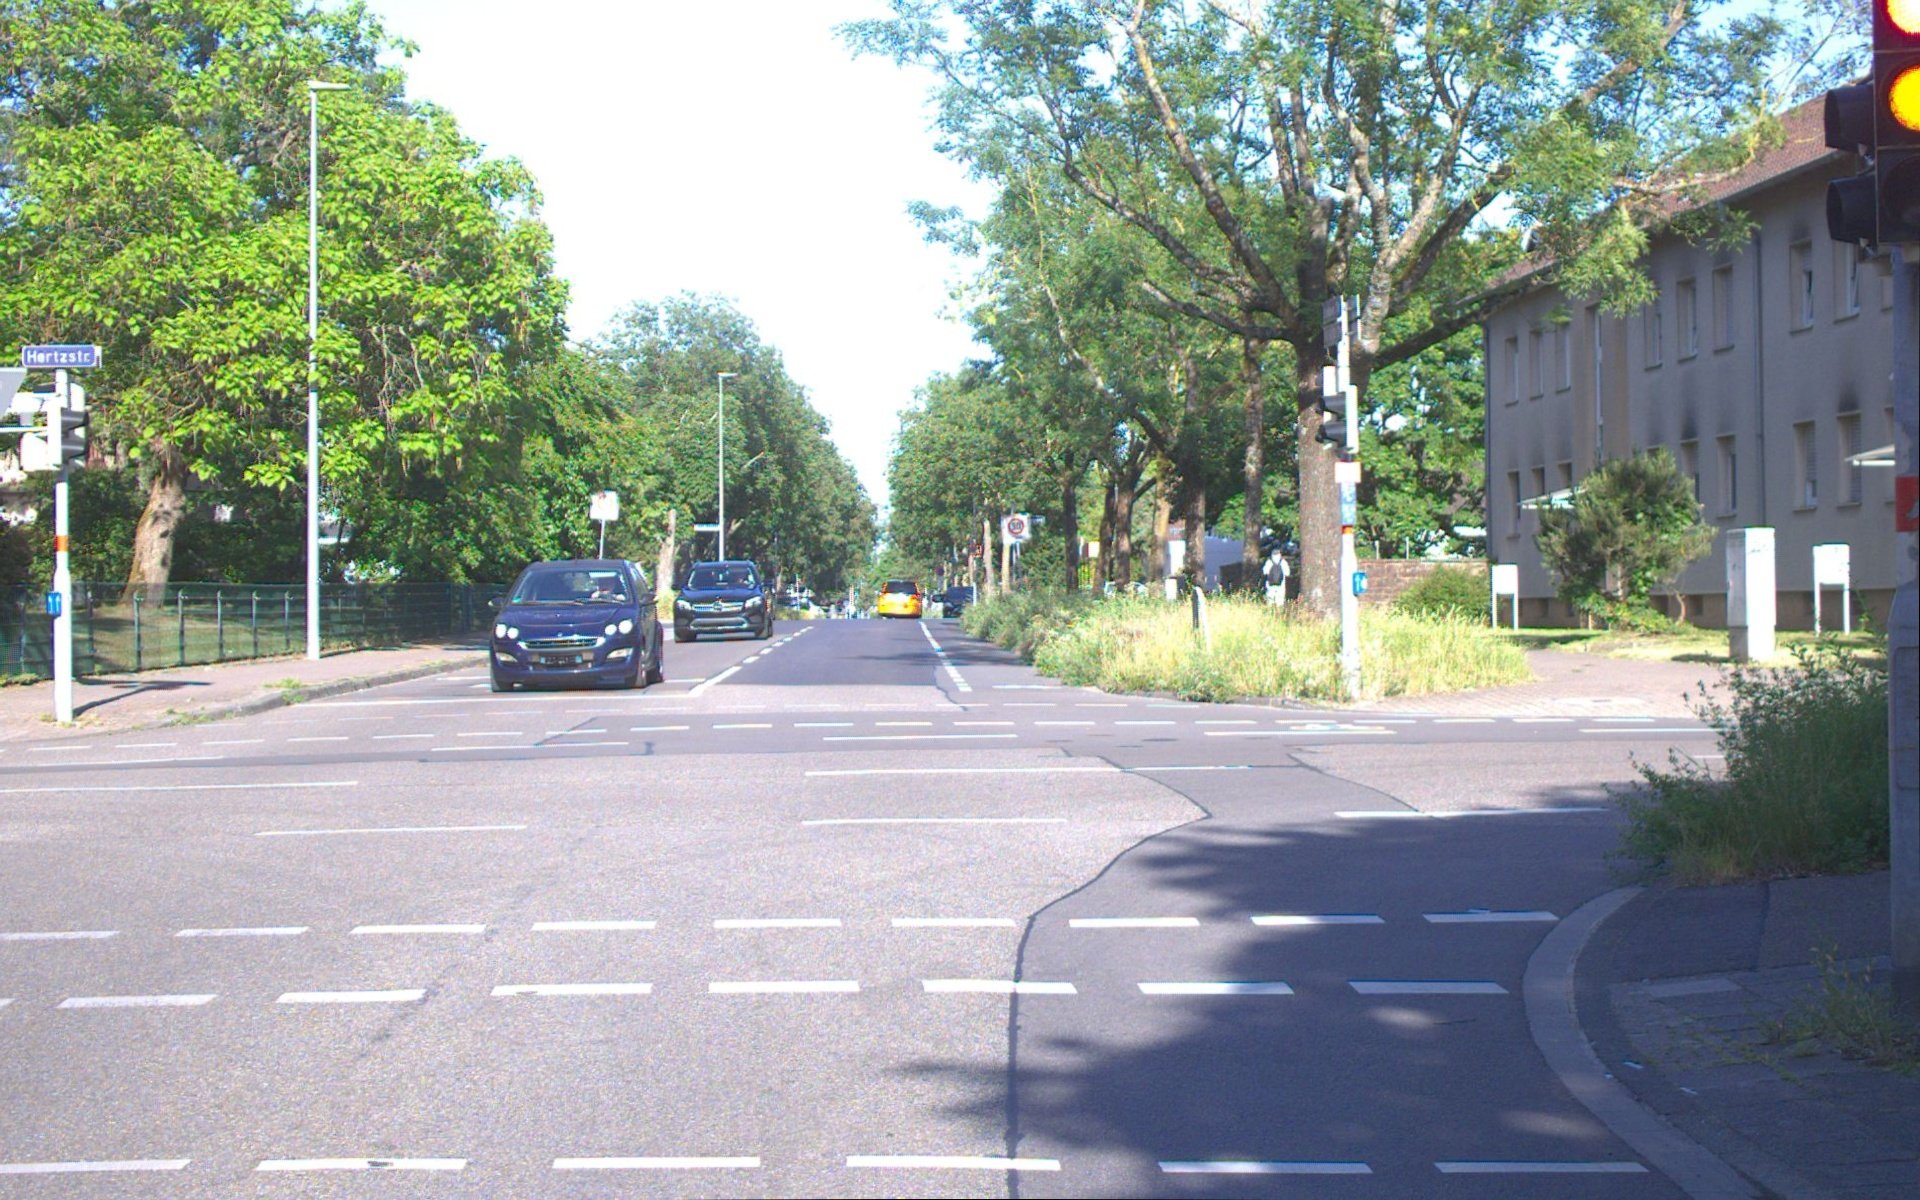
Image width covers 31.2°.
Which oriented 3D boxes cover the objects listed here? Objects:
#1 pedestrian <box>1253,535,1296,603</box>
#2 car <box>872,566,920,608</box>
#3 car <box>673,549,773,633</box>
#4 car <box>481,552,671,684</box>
[{"bbox_3d":[7.090,-0.707,77.521,0.842,1.488,0.924,2,1,-1],"label":"pedestrian"},{"bbox_3d":[-2.399,-0.500,130.017,1.751,1.577,4.000,1,0,0],"label":"car"},{"bbox_3d":[-4.798,-0.203,69.929,1.758,1.619,3.268,0,1,0],"label":"car"},{"bbox_3d":[-4.267,0.169,38.637,1.711,1.381,3.471,0,1,0],"label":"car"}]
